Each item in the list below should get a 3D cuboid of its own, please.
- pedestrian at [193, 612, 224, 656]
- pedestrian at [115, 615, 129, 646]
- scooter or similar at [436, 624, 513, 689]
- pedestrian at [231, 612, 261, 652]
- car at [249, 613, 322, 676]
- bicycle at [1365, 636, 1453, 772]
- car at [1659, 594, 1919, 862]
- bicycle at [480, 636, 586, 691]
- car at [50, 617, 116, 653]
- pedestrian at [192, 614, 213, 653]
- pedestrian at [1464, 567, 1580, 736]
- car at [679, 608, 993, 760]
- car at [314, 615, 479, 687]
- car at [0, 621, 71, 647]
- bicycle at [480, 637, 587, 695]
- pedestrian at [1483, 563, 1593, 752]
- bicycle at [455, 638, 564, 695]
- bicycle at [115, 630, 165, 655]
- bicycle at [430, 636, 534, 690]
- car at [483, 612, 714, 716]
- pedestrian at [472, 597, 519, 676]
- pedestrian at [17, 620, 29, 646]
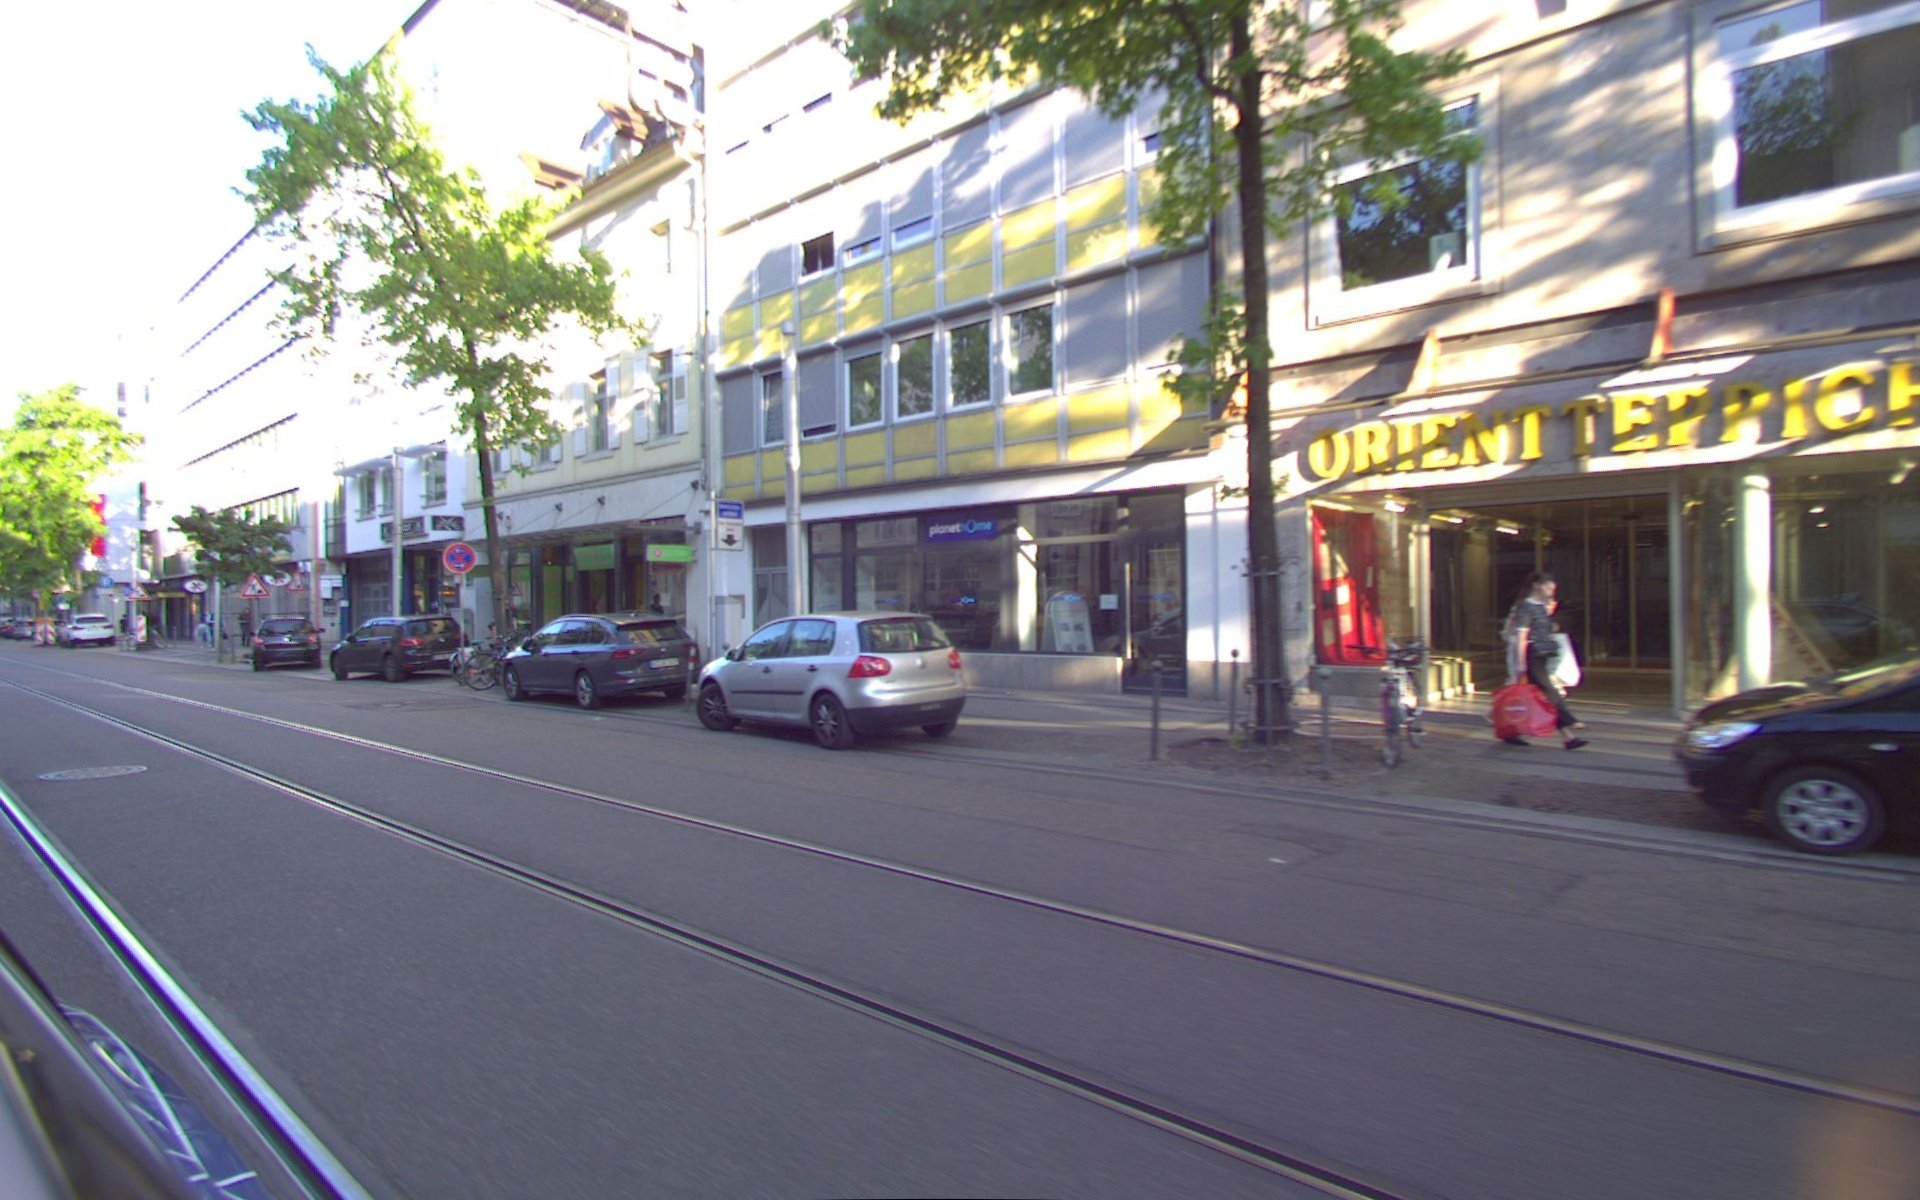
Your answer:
[{"bbox_3d":[-31.067,1.397,41.832,0.831,1.780,0.842,-2,-1,39],"label":"pedestrian"},{"bbox_3d":[-55.726,2.001,67.276,0.592,2.029,0.608,-2,-2,40],"label":"pedestrian"},{"bbox_3d":[-10.393,1.191,21.695,1.403,1.280,0.375,-3,1,-44],"label":"scooter or similar"},{"bbox_3d":[-31.939,1.414,45.296,1.037,1.708,0.823,-2,1,42],"label":"pedestrian"},{"bbox_3d":[-19.575,1.239,29.415,1.608,1.628,3.718,-2,0,-33],"label":"car"},{"bbox_3d":[4.192,0.905,9.378,0.439,1.073,1.795,-1,0,33],"label":"bicycle"},{"bbox_3d":[6.462,0.708,5.870,3.824,1.439,1.649,-1,2,40],"label":"car"},{"bbox_3d":[-8.630,1.260,20.506,1.948,1.009,0.420,0,-1,-44],"label":"bicycle"},{"bbox_3d":[-46.561,1.845,53.709,4.742,1.767,1.973,-2,1,41],"label":"car"},{"bbox_3d":[-34.226,1.516,45.725,0.634,1.725,0.830,-2,0,-44],"label":"pedestrian"},{"bbox_3d":[6.013,0.526,10.831,0.913,1.706,0.780,-2,-1,41],"label":"pedestrian"},{"bbox_3d":[-1.669,0.868,12.308,1.745,1.508,4.181,0,0,-41],"label":"car"},{"bbox_3d":[-13.335,1.151,23.867,4.234,1.501,1.776,-1,1,36],"label":"car"},{"bbox_3d":[-66.600,2.428,72.926,1.774,1.572,3.382,-1,2,17],"label":"car"},{"bbox_3d":[-8.256,1.261,19.680,0.330,1.009,1.949,-2,-1,44],"label":"bicycle"},{"bbox_3d":[5.554,0.529,9.718,0.740,1.706,0.835,-2,-1,41],"label":"pedestrian"},{"bbox_3d":[-8.740,1.269,19.716,0.331,1.009,1.948,-2,-1,44],"label":"bicycle"},{"bbox_3d":[-37.828,1.932,46.699,1.724,0.999,0.479,-5,1,-41],"label":"bicycle"},{"bbox_3d":[-9.878,1.284,20.985,0.331,1.009,1.948,-2,-1,44],"label":"bicycle"},{"bbox_3d":[-6.157,0.984,16.958,4.485,1.472,1.693,-1,1,42],"label":"car"},{"bbox_3d":[-11.193,0.872,24.406,0.878,1.839,0.653,-2,1,42],"label":"pedestrian"},{"bbox_3d":[-70.563,2.457,76.226,0.723,1.948,0.647,-2,-2,44],"label":"pedestrian"}]
